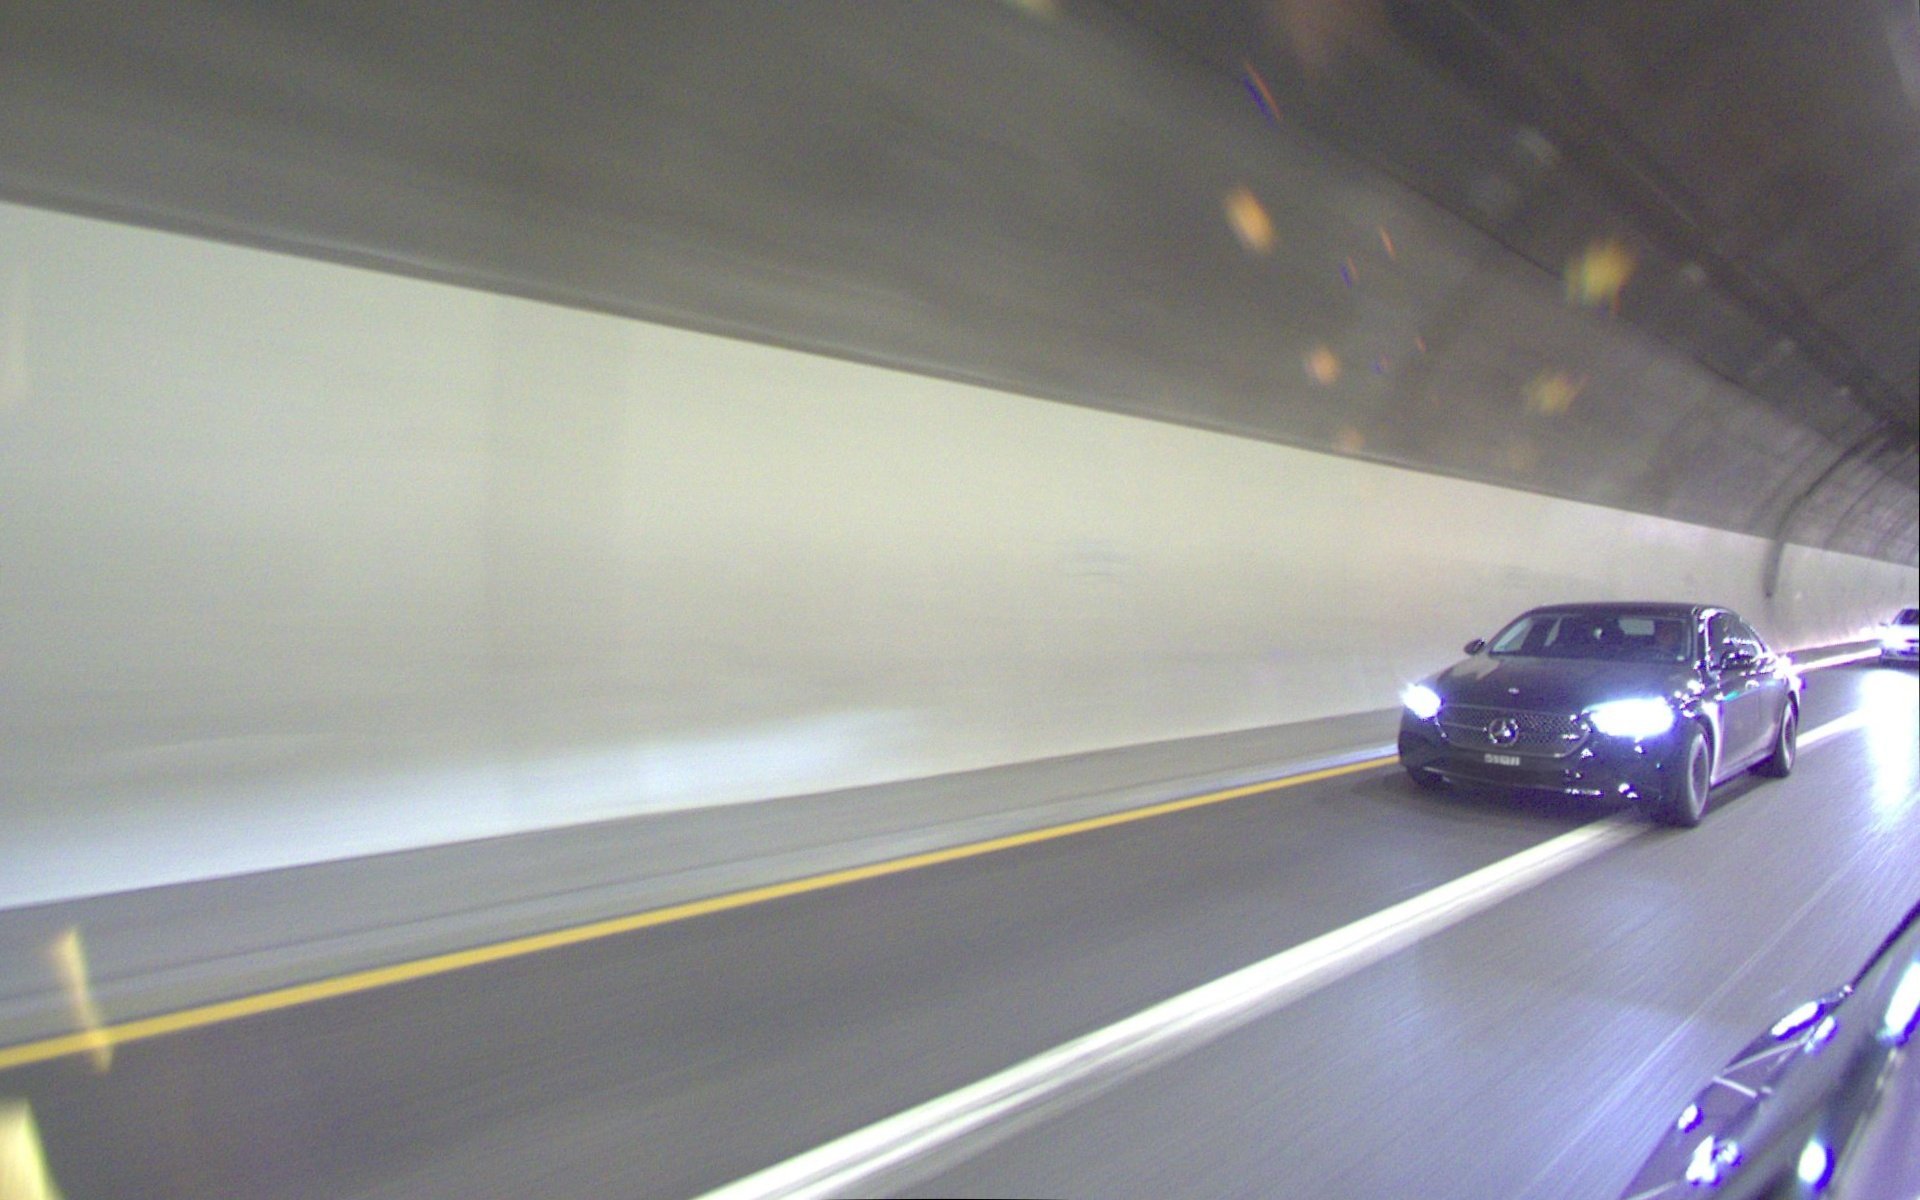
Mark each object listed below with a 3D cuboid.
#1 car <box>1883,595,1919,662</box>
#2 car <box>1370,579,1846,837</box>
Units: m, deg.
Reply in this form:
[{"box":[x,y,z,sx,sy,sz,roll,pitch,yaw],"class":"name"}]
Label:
[{"box":[23.052,0.657,23.479,3.961,1.479,1.802,0,1,-39],"class":"car"},{"box":[5.533,0.620,8.337,4.867,1.490,1.930,0,2,-40],"class":"car"}]
